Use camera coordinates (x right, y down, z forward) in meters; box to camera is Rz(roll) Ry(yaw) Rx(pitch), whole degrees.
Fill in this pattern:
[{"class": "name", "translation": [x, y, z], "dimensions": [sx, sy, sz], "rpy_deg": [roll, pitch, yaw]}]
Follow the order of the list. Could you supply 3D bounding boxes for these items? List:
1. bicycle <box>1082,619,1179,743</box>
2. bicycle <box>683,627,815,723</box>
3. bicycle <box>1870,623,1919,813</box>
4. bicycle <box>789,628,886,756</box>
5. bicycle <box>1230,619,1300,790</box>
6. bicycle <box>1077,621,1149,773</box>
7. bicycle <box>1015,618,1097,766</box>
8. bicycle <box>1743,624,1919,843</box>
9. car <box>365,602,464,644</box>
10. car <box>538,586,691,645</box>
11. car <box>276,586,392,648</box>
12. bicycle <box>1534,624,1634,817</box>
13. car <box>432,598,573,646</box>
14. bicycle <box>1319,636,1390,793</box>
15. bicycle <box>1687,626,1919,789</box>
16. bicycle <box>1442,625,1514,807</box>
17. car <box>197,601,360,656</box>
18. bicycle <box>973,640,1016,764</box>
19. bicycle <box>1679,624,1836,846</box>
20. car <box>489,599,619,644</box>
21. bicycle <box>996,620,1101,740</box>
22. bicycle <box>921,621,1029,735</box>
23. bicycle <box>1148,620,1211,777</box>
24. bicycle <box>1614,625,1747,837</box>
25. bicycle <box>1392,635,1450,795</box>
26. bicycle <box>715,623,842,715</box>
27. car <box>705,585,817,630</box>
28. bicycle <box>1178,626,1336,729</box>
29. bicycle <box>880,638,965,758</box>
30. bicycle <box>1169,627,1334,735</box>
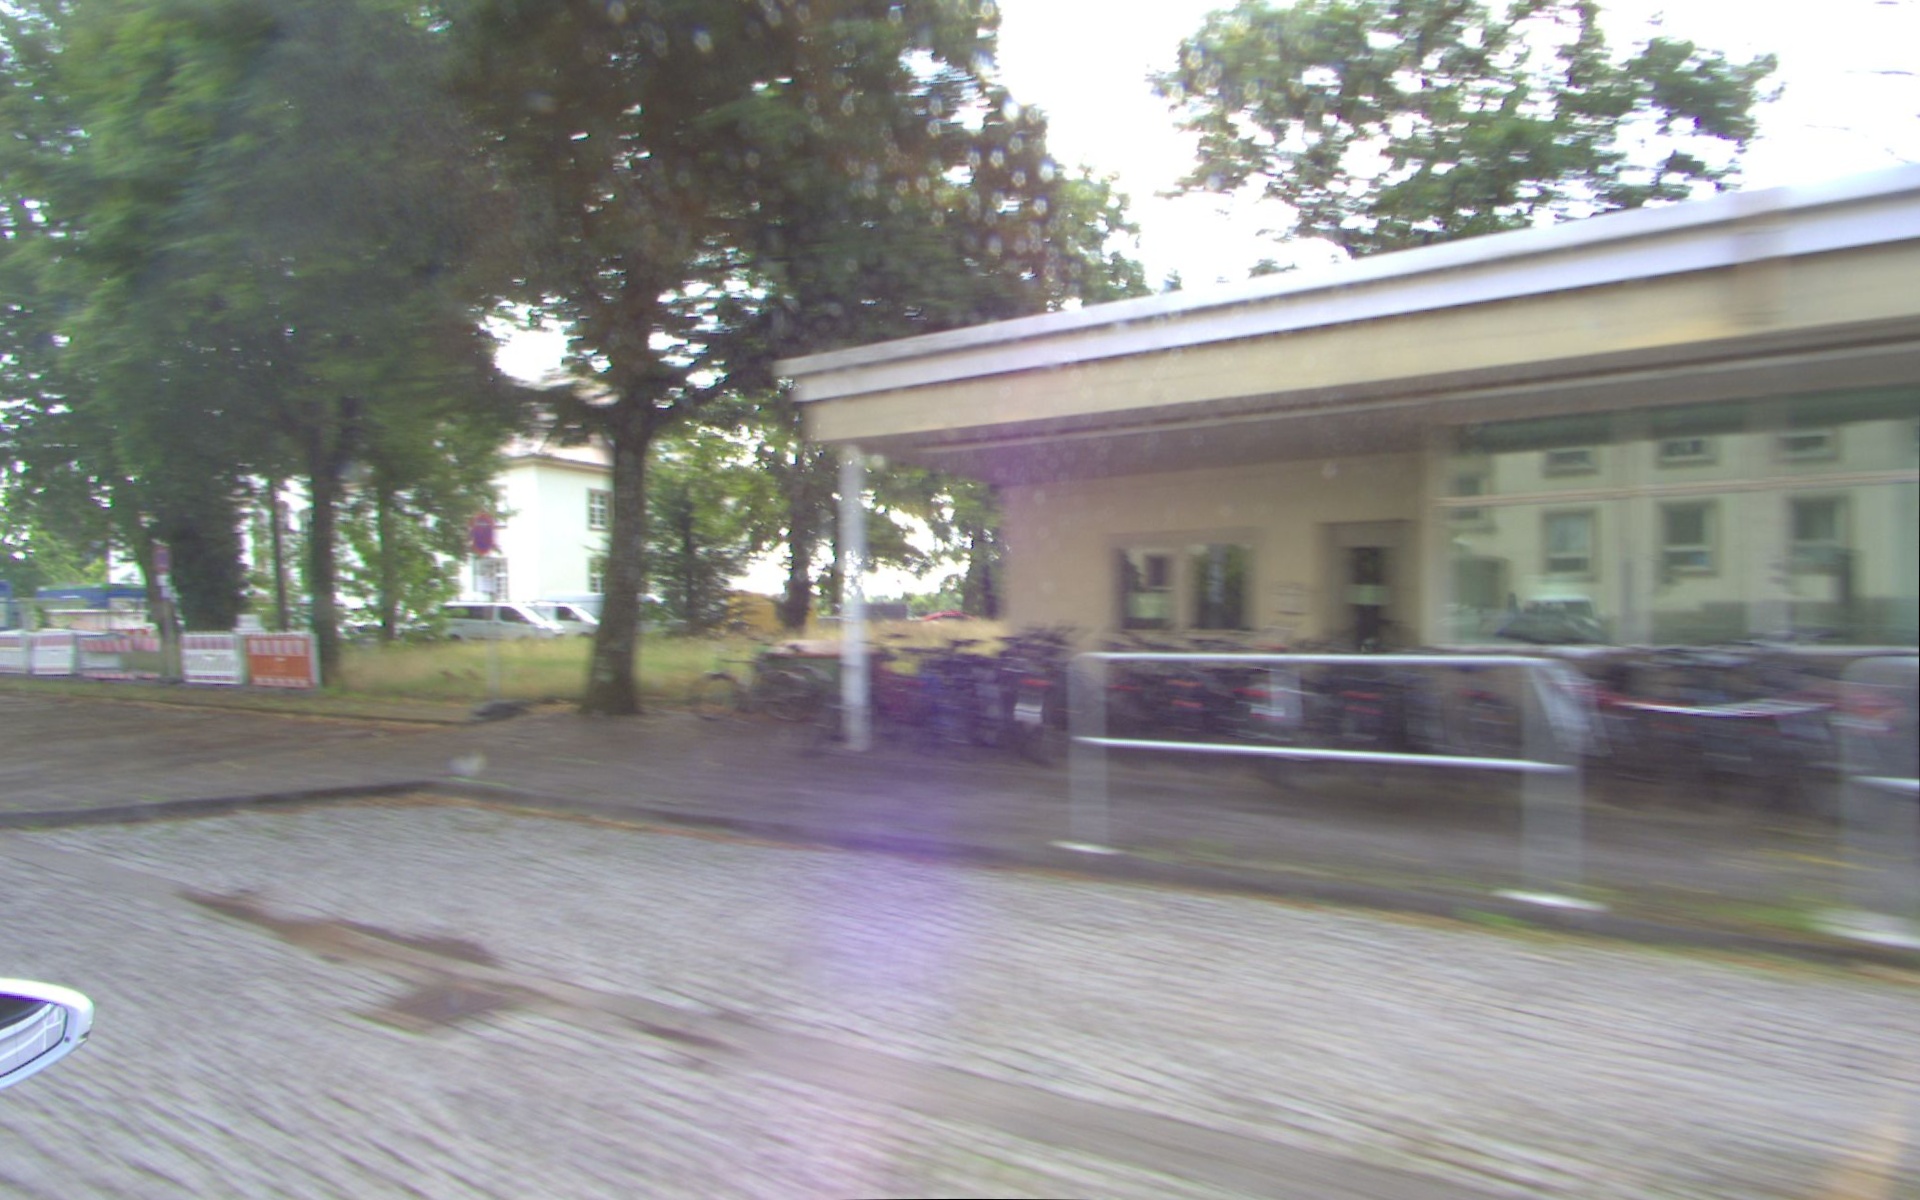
[{"class": "bicycle", "translation": [1.905, 0.835, 10.968], "dimensions": [0.598, 1.181, 1.740], "rpy_deg": [-1, 1, 25]}, {"class": "bicycle", "translation": [-2.685, 0.917, 12.689], "dimensions": [1.610, 1.132, 0.596], "rpy_deg": [-1, 1, 28]}, {"class": "bicycle", "translation": [6.069, 0.749, 6.008], "dimensions": [0.350, 1.156, 1.613], "rpy_deg": [-1, 1, 22]}, {"class": "bicycle", "translation": [-1.214, 0.886, 10.204], "dimensions": [0.332, 1.123, 1.679], "rpy_deg": [-1, 1, 16]}, {"class": "bicycle", "translation": [2.495, 0.785, 8.210], "dimensions": [0.490, 1.206, 1.632], "rpy_deg": [-1, 1, 17]}, {"class": "bicycle", "translation": [1.426, 0.826, 9.158], "dimensions": [0.412, 1.206, 1.632], "rpy_deg": [-1, 1, 17]}, {"class": "bicycle", "translation": [0.930, 0.803, 9.386], "dimensions": [0.465, 1.206, 1.632], "rpy_deg": [-1, 1, 16]}, {"class": "bicycle", "translation": [5.501, 0.766, 6.390], "dimensions": [0.350, 1.156, 1.613], "rpy_deg": [-1, 1, 22]}, {"class": "car", "translation": [-25.739, 1.118, 47.222], "dimensions": [4.804, 1.848, 1.991], "rpy_deg": [-2, -2, 31]}, {"class": "car", "translation": [-15.703, 0.735, 45.747], "dimensions": [6.297, 2.611, 2.001], "rpy_deg": [0, -2, 0]}, {"class": "car", "translation": [-27.595, 0.792, 44.074], "dimensions": [5.825, 2.588, 1.991], "rpy_deg": [-1, -2, 32]}, {"class": "bicycle", "translation": [4.414, 0.785, 7.152], "dimensions": [0.320, 1.156, 1.613], "rpy_deg": [-1, 1, 22]}, {"class": "car", "translation": [-18.424, 0.898, 40.445], "dimensions": [4.779, 1.848, 2.001], "rpy_deg": [0, -2, 3]}, {"class": "bicycle", "translation": [3.162, 0.861, 8.098], "dimensions": [0.328, 1.064, 1.632], "rpy_deg": [-1, 1, 15]}, {"class": "bicycle", "translation": [6.357, 0.745, 7.174], "dimensions": [1.804, 1.090, 0.489], "rpy_deg": [-1, 1, 29]}, {"class": "bicycle", "translation": [3.857, 0.802, 7.511], "dimensions": [0.320, 1.156, 1.592], "rpy_deg": [-1, 1, 22]}, {"class": "car", "translation": [-25.996, 1.039, 38.402], "dimensions": [1.878, 1.946, 4.852], "rpy_deg": [1, 0, 30]}, {"class": "bicycle", "translation": [0.312, 0.920, 9.519], "dimensions": [0.316, 0.989, 1.634], "rpy_deg": [-1, 1, -1]}, {"class": "bicycle", "translation": [4.968, 0.765, 6.318], "dimensions": [0.320, 1.156, 1.613], "rpy_deg": [-1, 1, 22]}, {"class": "car", "translation": [-17.349, 0.942, 42.931], "dimensions": [4.779, 1.848, 2.001], "rpy_deg": [0, -2, 3]}, {"class": "bicycle", "translation": [1.031, 0.850, 11.258], "dimensions": [0.598, 1.181, 1.740], "rpy_deg": [-1, 1, 25]}, {"class": "bicycle", "translation": [0.216, 0.877, 11.876], "dimensions": [0.598, 1.181, 1.740], "rpy_deg": [-1, 1, 25]}, {"class": "bicycle", "translation": [1.975, 0.814, 8.904], "dimensions": [0.412, 1.206, 1.632], "rpy_deg": [-1, 1, 17]}, {"class": "bicycle", "translation": [4.665, 0.775, 6.554], "dimensions": [0.320, 1.156, 1.613], "rpy_deg": [-1, 1, 22]}, {"class": "bicycle", "translation": [3.623, 0.845, 7.915], "dimensions": [0.320, 1.064, 1.592], "rpy_deg": [-1, 1, 22]}, {"class": "bicycle", "translation": [-2.407, 0.885, 13.252], "dimensions": [1.610, 1.132, 0.596], "rpy_deg": [-1, 1, 28]}, {"class": "car", "translation": [-10.151, 0.453, 51.667], "dimensions": [2.179, 2.122, 6.135], "rpy_deg": [-1, -2, 30]}, {"class": "bicycle", "translation": [3.318, 0.849, 11.238], "dimensions": [1.651, 1.090, 0.479], "rpy_deg": [-1, 1, 18]}, {"class": "bicycle", "translation": [-0.349, 0.923, 9.964], "dimensions": [0.744, 0.989, 1.745], "rpy_deg": [-1, 1, -1]}, {"class": "bicycle", "translation": [3.101, 0.847, 10.706], "dimensions": [1.651, 1.090, 0.479], "rpy_deg": [-1, 1, 18]}]
